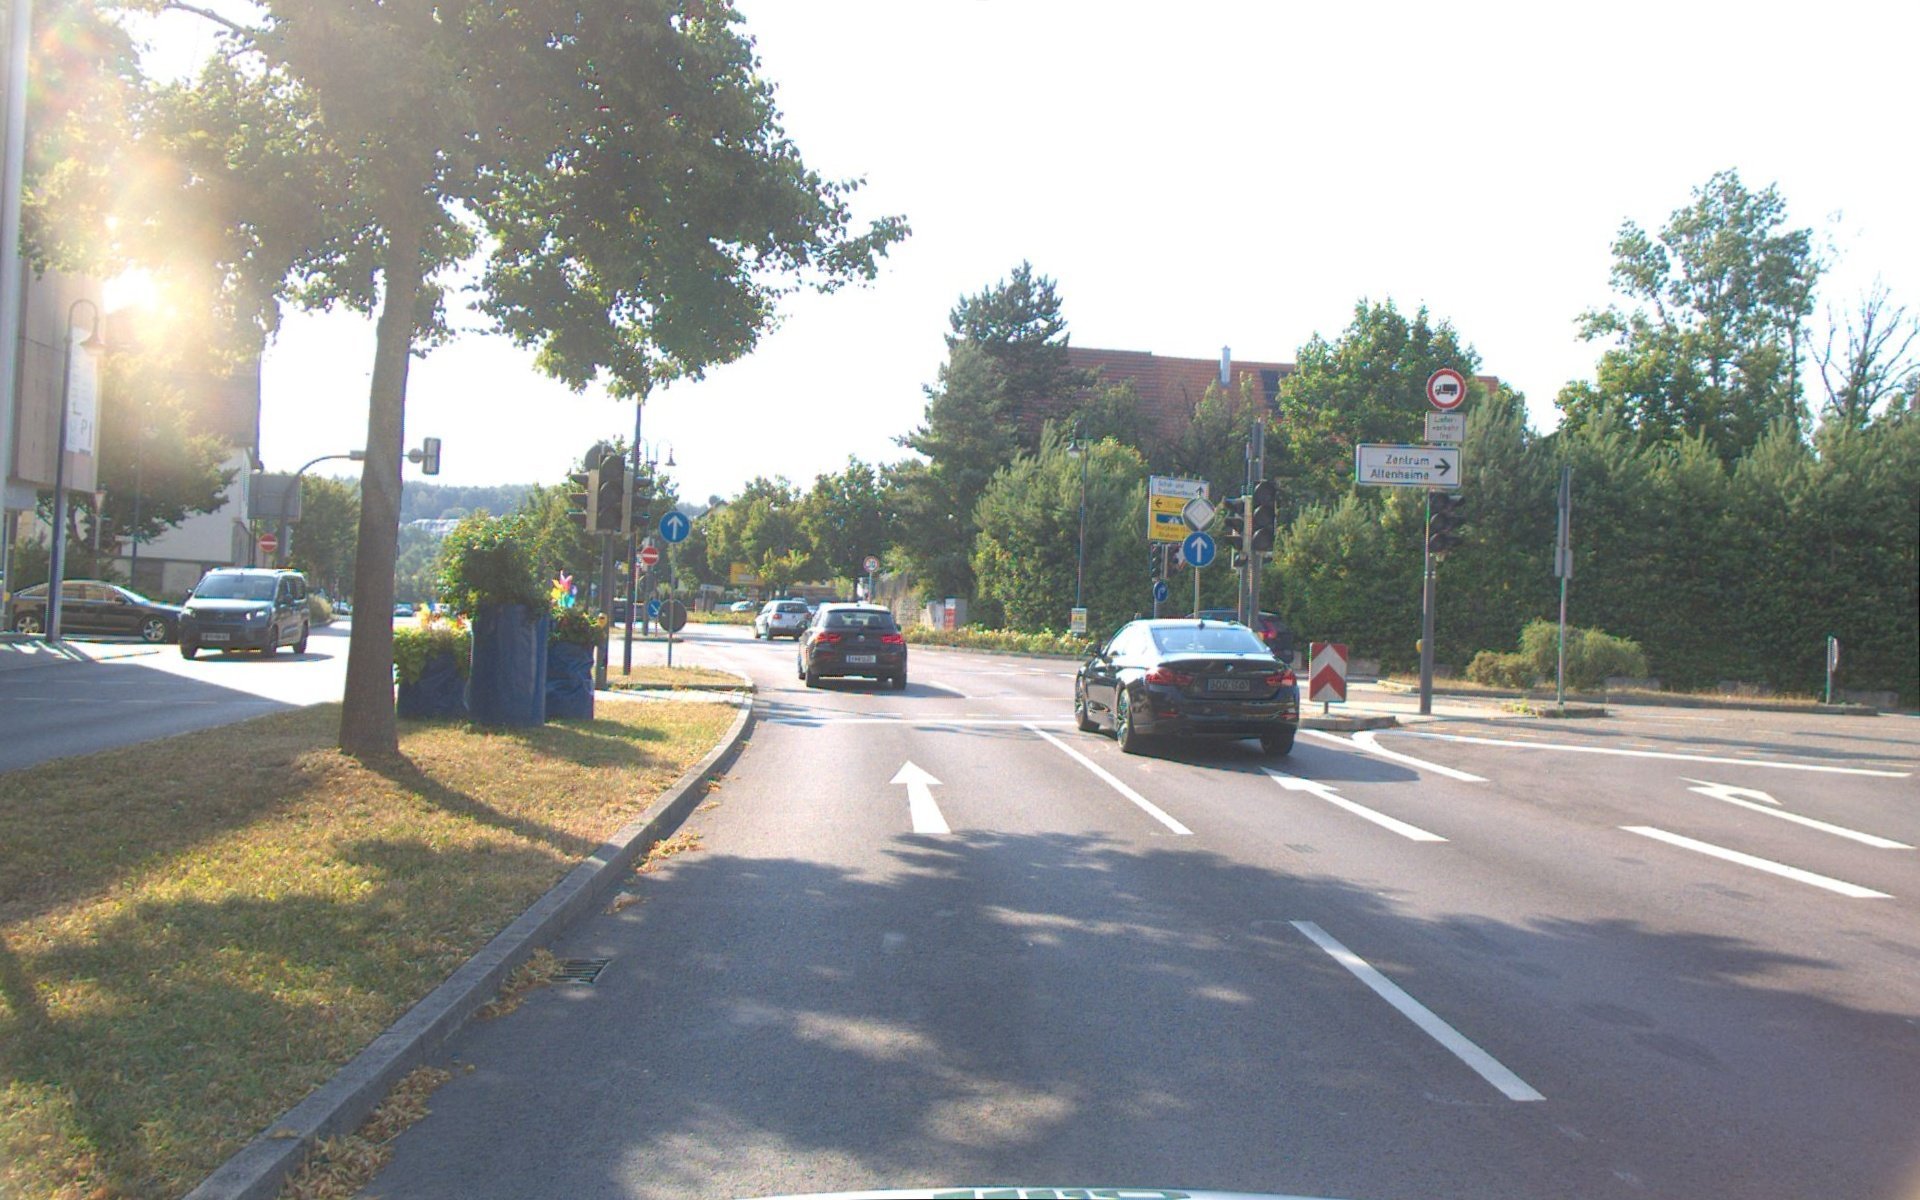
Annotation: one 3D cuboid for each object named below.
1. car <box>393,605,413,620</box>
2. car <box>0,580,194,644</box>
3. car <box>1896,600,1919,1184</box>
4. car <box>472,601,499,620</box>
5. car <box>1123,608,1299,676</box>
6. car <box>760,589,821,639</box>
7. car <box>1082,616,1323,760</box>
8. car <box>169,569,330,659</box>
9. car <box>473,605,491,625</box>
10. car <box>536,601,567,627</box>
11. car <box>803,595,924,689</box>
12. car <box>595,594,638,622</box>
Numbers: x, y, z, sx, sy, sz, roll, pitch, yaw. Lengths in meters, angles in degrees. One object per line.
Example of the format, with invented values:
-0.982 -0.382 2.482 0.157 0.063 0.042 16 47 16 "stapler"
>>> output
-54.431 1.186 161.807 1.728 1.385 4.462 1 0 -18 "car"
-21.313 0.295 39.925 4.772 1.462 1.912 1 -1 -12 "car"
3.431 0.786 2.292 1.686 1.516 4.304 1 0 -2 "car"
-46.442 1.008 161.825 2.184 1.800 4.427 1 0 -20 "car"
6.525 1.060 43.127 4.180 1.594 1.788 1 0 32 "car"
-6.498 0.518 63.135 1.891 1.800 4.441 1 0 -11 "car"
2.560 0.894 18.523 1.882 1.388 4.350 1 -1 -2 "car"
-15.002 0.298 35.213 1.817 1.767 4.914 1 0 -7 "car"
-50.423 1.557 174.458 1.744 2.049 3.983 2 0 -16 "car"
-28.967 0.992 117.251 1.730 1.800 3.947 1 0 -20 "car"
-1.670 0.727 29.884 1.685 1.516 4.354 2 -1 3 "car"
-23.203 0.509 111.681 2.184 1.800 4.427 1 0 -20 "car"
